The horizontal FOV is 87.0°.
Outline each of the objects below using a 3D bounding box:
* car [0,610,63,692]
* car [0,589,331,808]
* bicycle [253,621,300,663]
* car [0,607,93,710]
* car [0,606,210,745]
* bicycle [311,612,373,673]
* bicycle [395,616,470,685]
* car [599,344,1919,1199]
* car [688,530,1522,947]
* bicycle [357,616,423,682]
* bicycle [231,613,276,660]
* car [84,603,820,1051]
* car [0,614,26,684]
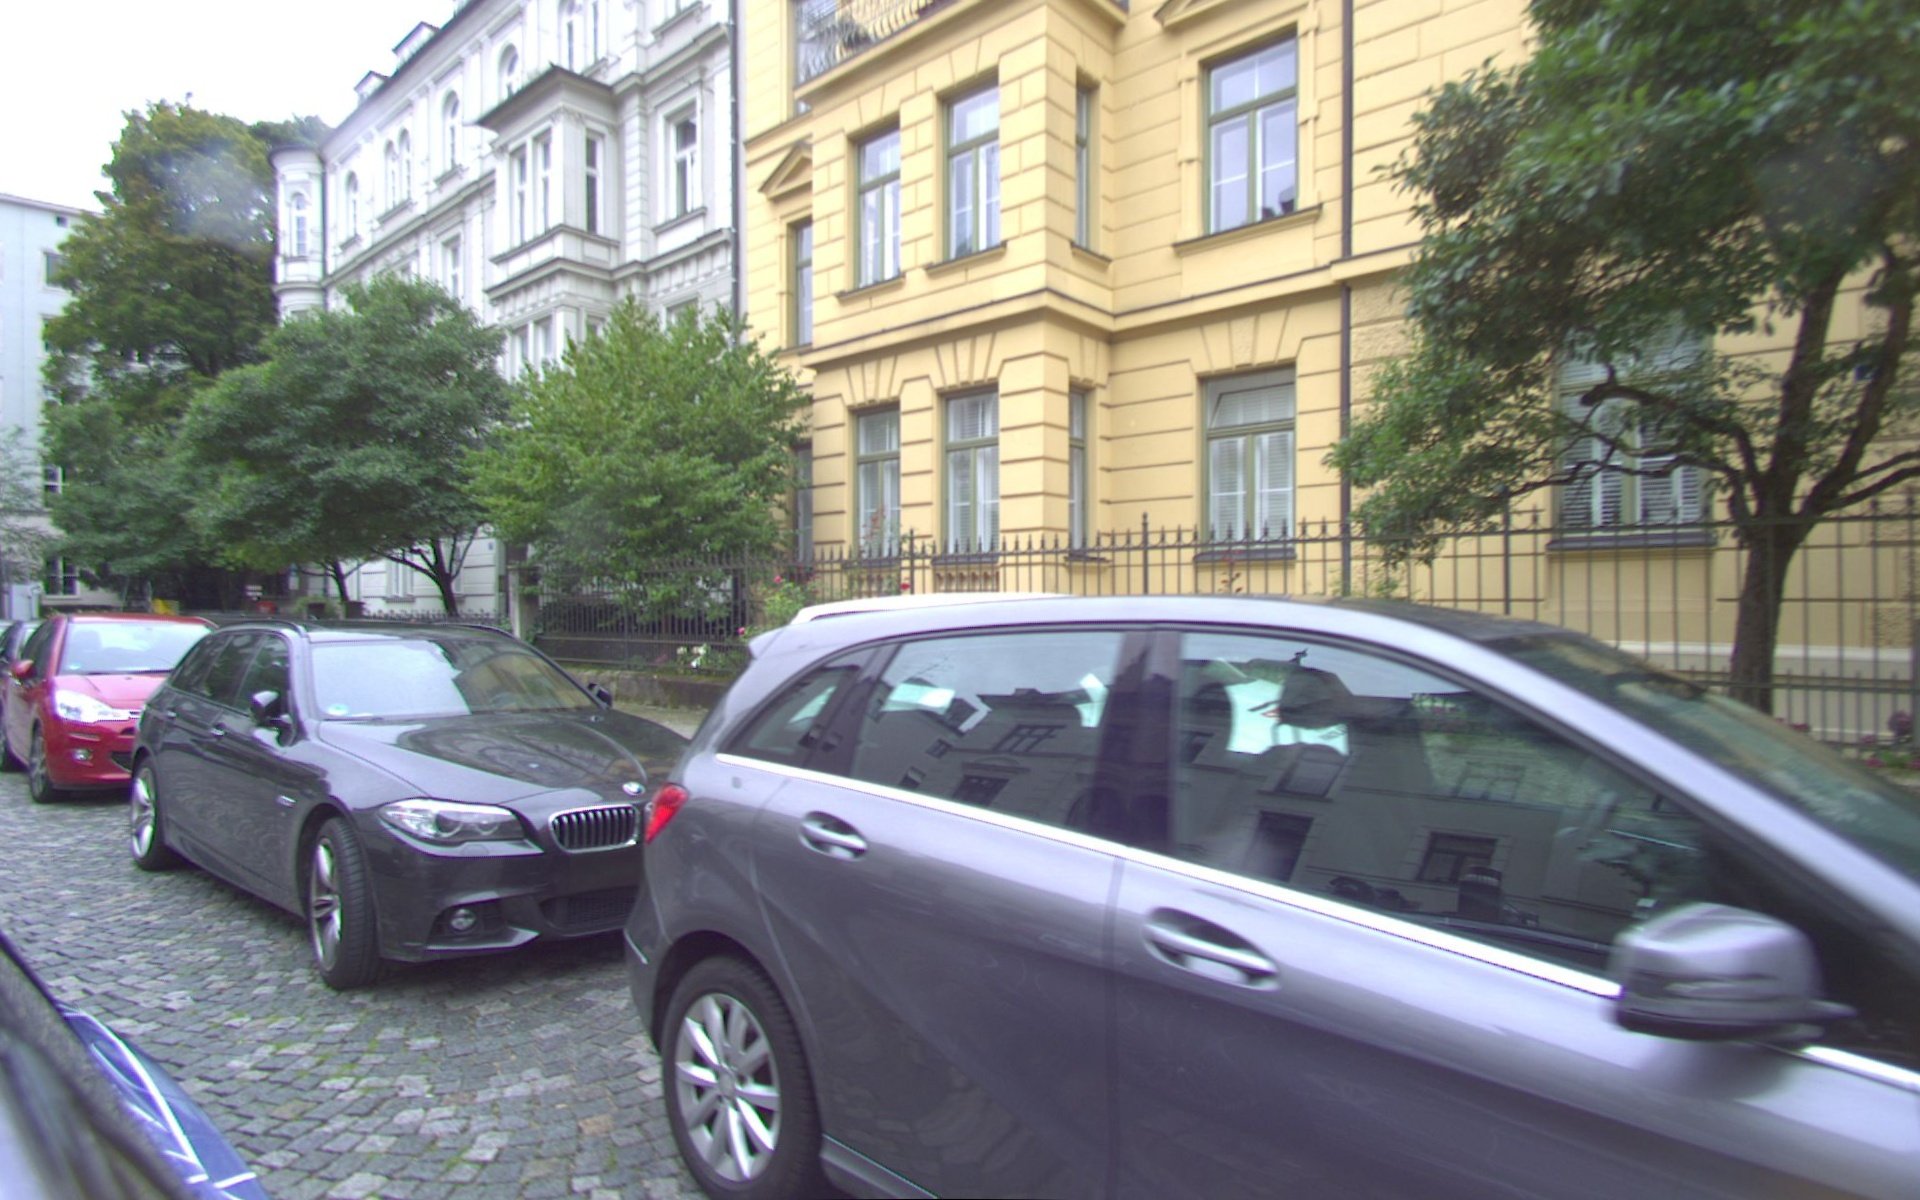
[{"bbox_3d":[-19.325,0.960,20.060,4.130,1.510,1.722,-1,-1,40],"label":"car"},{"bbox_3d":[-7.646,0.742,9.437,4.189,1.598,1.822,-1,-1,40],"label":"car"},{"bbox_3d":[-15.832,0.953,23.433,1.789,0.879,0.434,0,4,42],"label":"bicycle"},{"bbox_3d":[-15.633,0.881,16.529,4.511,1.510,1.790,-1,-1,44],"label":"car"},{"bbox_3d":[-11.624,0.867,13.306,4.640,1.521,1.799,0,-3,41],"label":"car"},{"bbox_3d":[-12.430,0.825,20.342,1.789,1.132,0.504,0,4,42],"label":"bicycle"},{"bbox_3d":[-8.855,0.825,16.963,1.759,1.059,0.468,0,4,42],"label":"bicycle"},{"bbox_3d":[1.233,0.539,1.988,4.187,1.598,1.723,0,-1,39],"label":"car"},{"bbox_3d":[0.508,0.480,5.727,4.388,1.477,1.822,-1,1,42],"label":"car"},{"bbox_3d":[-10.387,0.865,18.417,1.789,1.107,0.429,0,4,42],"label":"bicycle"},{"bbox_3d":[-17.189,0.872,24.597,1.694,1.059,0.458,0,4,42],"label":"bicycle"},{"bbox_3d":[-3.211,0.777,5.725,5.129,1.481,1.851,-1,-1,40],"label":"car"},{"bbox_3d":[-22.776,1.082,22.940,4.276,1.510,1.723,0,-1,38],"label":"car"}]
